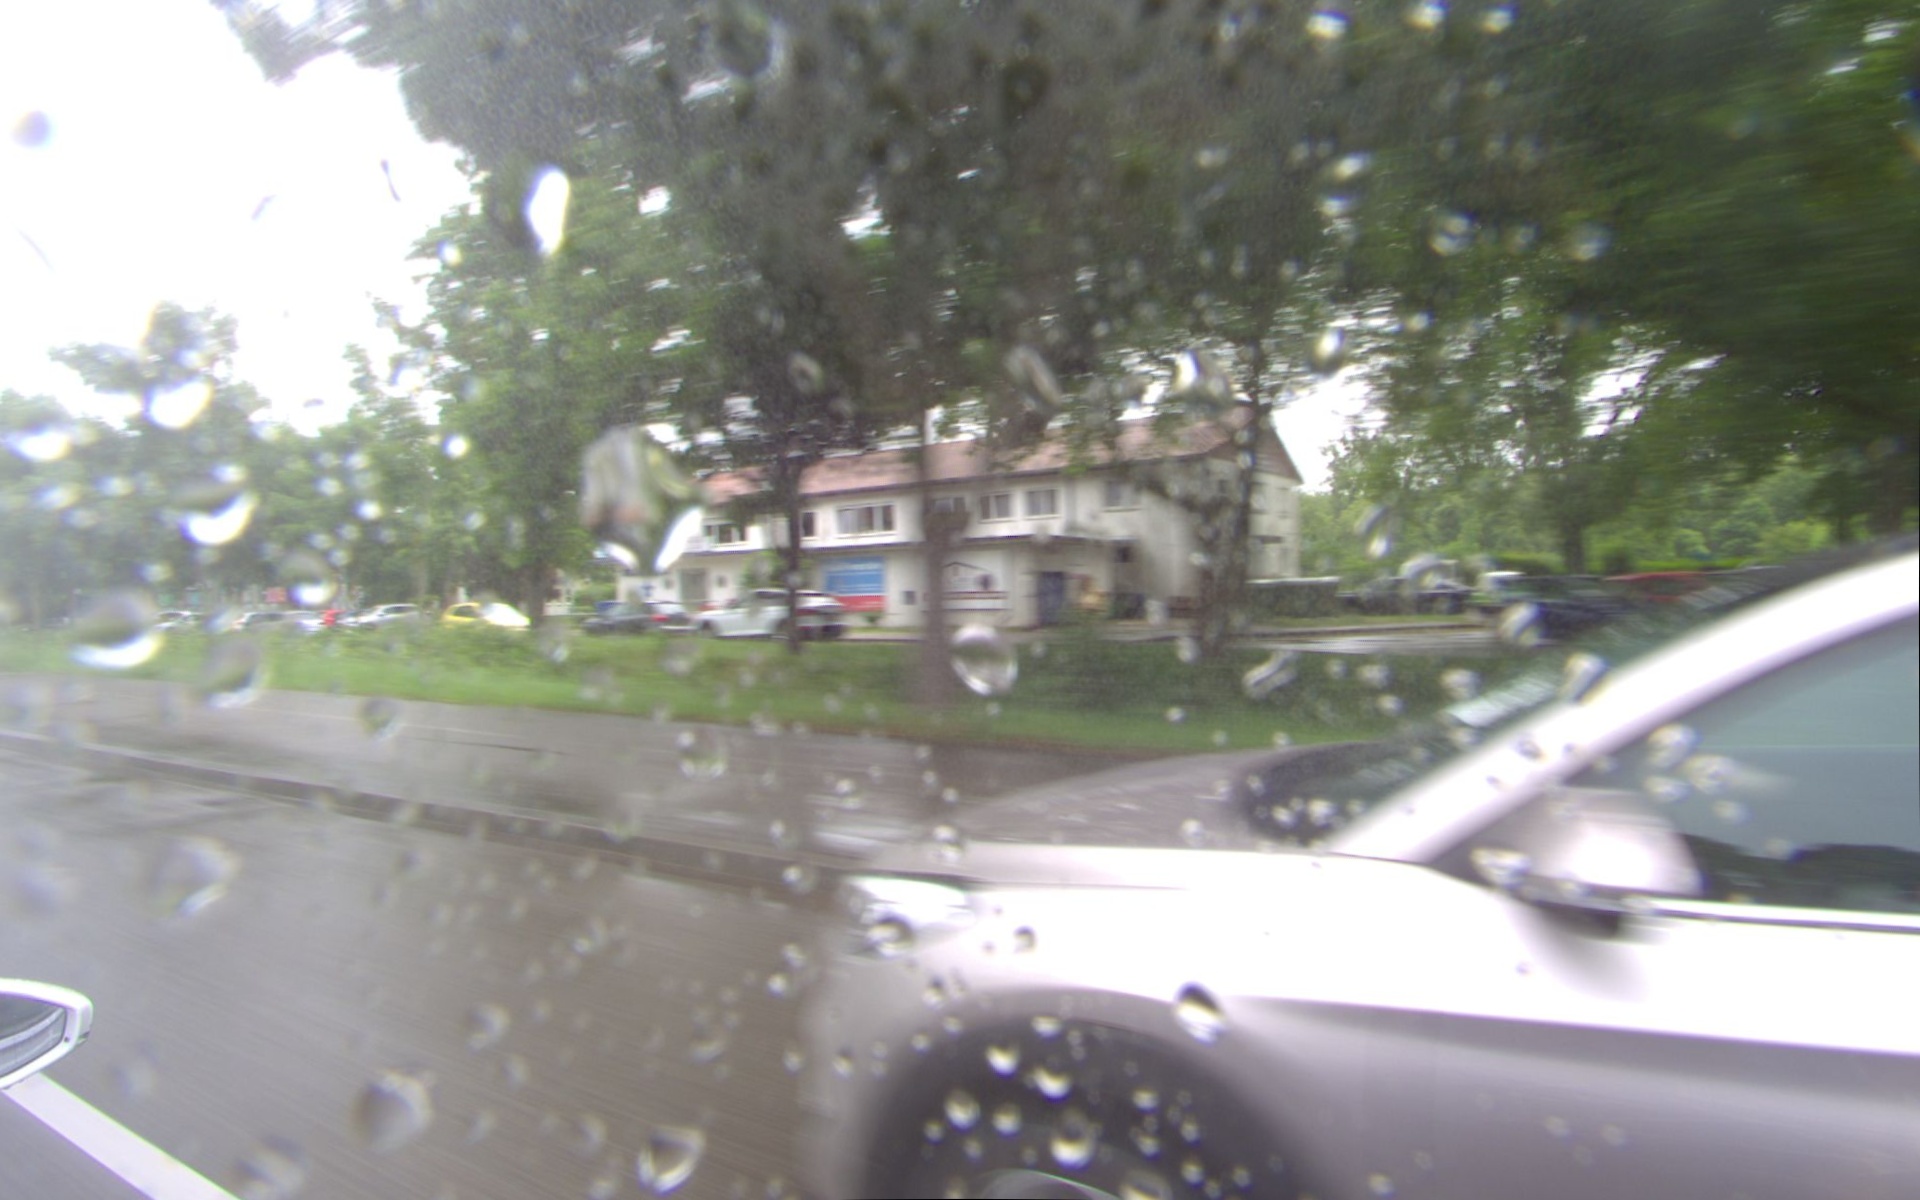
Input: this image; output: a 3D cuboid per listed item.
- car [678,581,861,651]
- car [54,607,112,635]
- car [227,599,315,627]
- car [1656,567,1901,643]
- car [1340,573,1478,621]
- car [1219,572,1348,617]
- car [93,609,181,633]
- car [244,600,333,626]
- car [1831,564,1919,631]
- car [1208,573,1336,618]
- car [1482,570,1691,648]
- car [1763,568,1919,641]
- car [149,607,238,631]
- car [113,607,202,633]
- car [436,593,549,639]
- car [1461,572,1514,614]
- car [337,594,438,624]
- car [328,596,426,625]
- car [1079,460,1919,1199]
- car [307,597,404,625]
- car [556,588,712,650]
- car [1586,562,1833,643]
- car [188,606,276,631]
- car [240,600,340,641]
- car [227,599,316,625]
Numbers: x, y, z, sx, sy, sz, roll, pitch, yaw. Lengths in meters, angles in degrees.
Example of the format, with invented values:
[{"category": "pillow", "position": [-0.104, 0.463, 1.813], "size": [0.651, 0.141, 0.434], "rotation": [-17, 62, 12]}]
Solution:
[{"category": "car", "position": [-5.225, 0.443, 27.269], "size": [4.809, 1.740, 1.989], "rotation": [-1, 1, 32]}, {"category": "car", "position": [-52.204, 1.217, 59.604], "size": [4.066, 1.465, 1.738], "rotation": [1, 2, 36]}, {"category": "car", "position": [-44.496, 0.850, 64.779], "size": [1.916, 1.747, 4.329], "rotation": [-1, -1, 30]}, {"category": "car", "position": [17.182, 0.144, 21.251], "size": [1.640, 1.468, 3.746], "rotation": [0, -1, -17]}, {"category": "car", "position": [15.398, -0.055, 34.418], "size": [4.061, 1.519, 1.747], "rotation": [-2, -1, 36]}, {"category": "car", "position": [10.961, -0.151, 33.994], "size": [3.942, 1.403, 1.581], "rotation": [-1, -1, 32]}, {"category": "car", "position": [-59.735, 1.504, 72.799], "size": [1.969, 1.666, 4.567], "rotation": [-1, -2, 28]}, {"category": "car", "position": [-40.420, 0.792, 60.387], "size": [1.765, 1.478, 4.122], "rotation": [-1, -2, 33]}, {"category": "car", "position": [21.833, -0.048, 22.138], "size": [1.573, 1.468, 3.751], "rotation": [0, -1, -8]}, {"category": "car", "position": [9.997, -0.110, 32.141], "size": [3.648, 1.333, 1.569], "rotation": [-1, -1, 31]}, {"category": "car", "position": [11.992, 0.210, 19.407], "size": [1.496, 1.369, 3.386], "rotation": [0, -1, -12]}, {"category": "car", "position": [19.760, 0.127, 21.541], "size": [1.638, 1.468, 3.751], "rotation": [0, -1, -8]}, {"category": "car", "position": [-52.537, 1.325, 68.707], "size": [1.921, 1.577, 4.555], "rotation": [-1, -2, 37]}, {"category": "car", "position": [-57.195, 1.444, 71.460], "size": [1.970, 1.727, 4.565], "rotation": [-1, -2, 30]}, {"category": "car", "position": [-16.178, 0.585, 34.603], "size": [4.014, 1.505, 1.634], "rotation": [-1, -1, 32]}, {"category": "car", "position": [20.309, -0.210, 38.510], "size": [1.710, 1.475, 3.983], "rotation": [-1, -2, 29]}, {"category": "car", "position": [-30.393, 0.522, 53.269], "size": [1.895, 1.523, 4.329], "rotation": [-1, -2, 30]}, {"category": "car", "position": [-32.086, 0.591, 55.243], "size": [1.916, 1.503, 4.329], "rotation": [-1, -2, 30]}, {"category": "car", "position": [2.433, 0.642, 1.221], "size": [4.137, 1.631, 1.880], "rotation": [-2, -1, 33]}, {"category": "car", "position": [-34.058, 0.645, 56.549], "size": [1.916, 1.503, 4.329], "rotation": [-1, -2, 30]}, {"category": "car", "position": [-9.899, 0.571, 30.332], "size": [4.575, 1.740, 1.989], "rotation": [-1, 1, 32]}, {"category": "car", "position": [14.956, 0.102, 20.240], "size": [1.640, 1.468, 3.746], "rotation": [0, -1, -17]}, {"category": "car", "position": [-47.971, 1.210, 66.046], "size": [1.916, 1.577, 4.329], "rotation": [-1, -2, 30]}, {"category": "car", "position": [-29.354, 0.902, 43.839], "size": [4.578, 1.647, 1.988], "rotation": [-1, 1, 34]}, {"category": "car", "position": [-42.632, 0.760, 62.089], "size": [1.734, 1.503, 4.184], "rotation": [-1, -2, 30]}]
